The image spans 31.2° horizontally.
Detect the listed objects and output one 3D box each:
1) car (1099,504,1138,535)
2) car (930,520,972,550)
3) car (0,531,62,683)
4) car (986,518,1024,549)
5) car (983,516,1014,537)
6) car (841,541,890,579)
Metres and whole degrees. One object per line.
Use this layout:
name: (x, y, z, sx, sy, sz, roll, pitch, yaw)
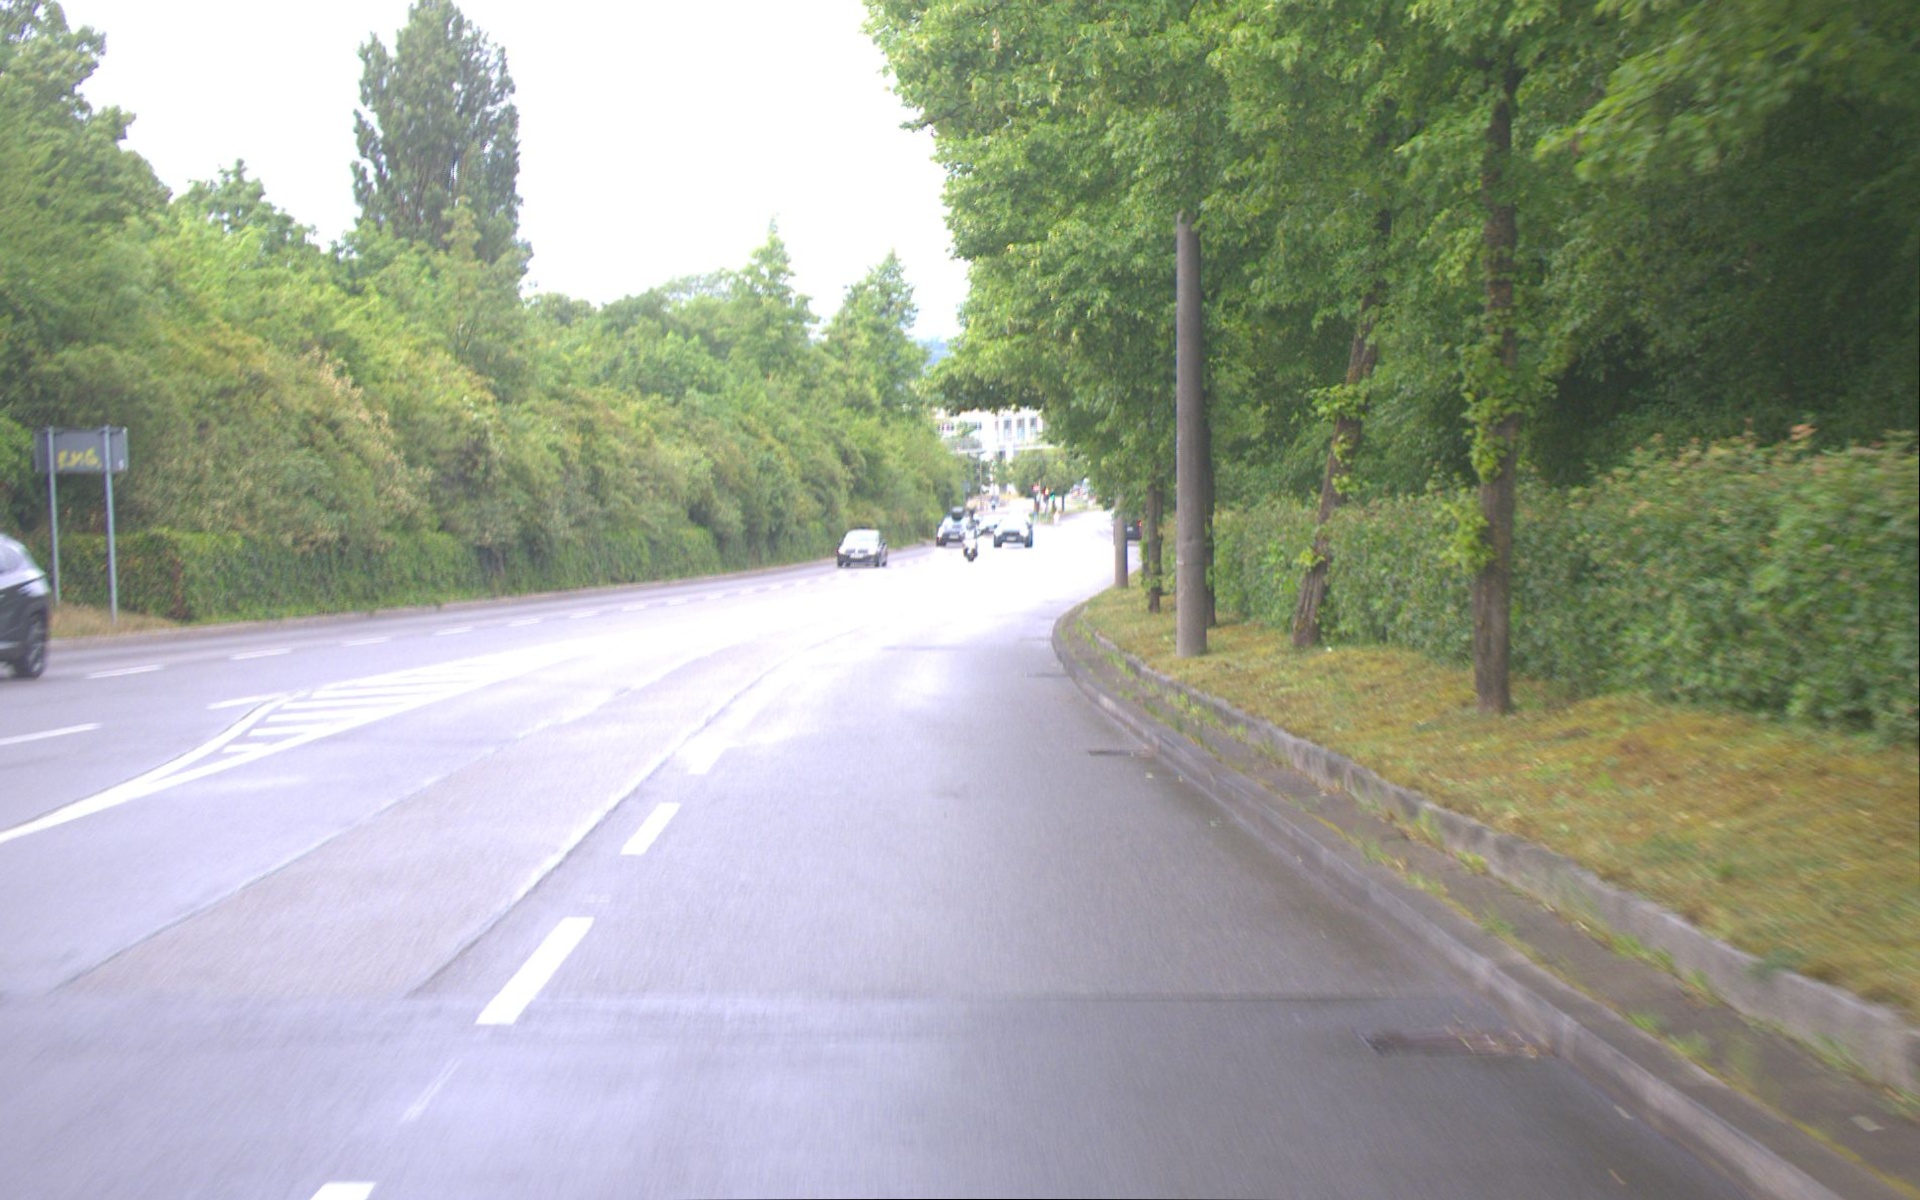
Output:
car: (9.019, -4.562, 195.395, 1.850, 1.696, 3.792, 1, 1, 7)
car: (-0.467, -3.521, 185.353, 1.899, 1.547, 4.630, 1, 1, 5)
car: (-11.013, 0.074, 36.253, 1.800, 1.601, 4.428, 0, 1, 2)
car: (2.416, -3.569, 184.352, 1.812, 1.652, 4.595, 0, 1, 4)
car: (2.635, -4.995, 233.190, 1.760, 1.376, 4.838, 1, 2, 4)
car: (-3.672, -1.569, 134.345, 1.549, 1.432, 3.696, 0, 1, 4)
